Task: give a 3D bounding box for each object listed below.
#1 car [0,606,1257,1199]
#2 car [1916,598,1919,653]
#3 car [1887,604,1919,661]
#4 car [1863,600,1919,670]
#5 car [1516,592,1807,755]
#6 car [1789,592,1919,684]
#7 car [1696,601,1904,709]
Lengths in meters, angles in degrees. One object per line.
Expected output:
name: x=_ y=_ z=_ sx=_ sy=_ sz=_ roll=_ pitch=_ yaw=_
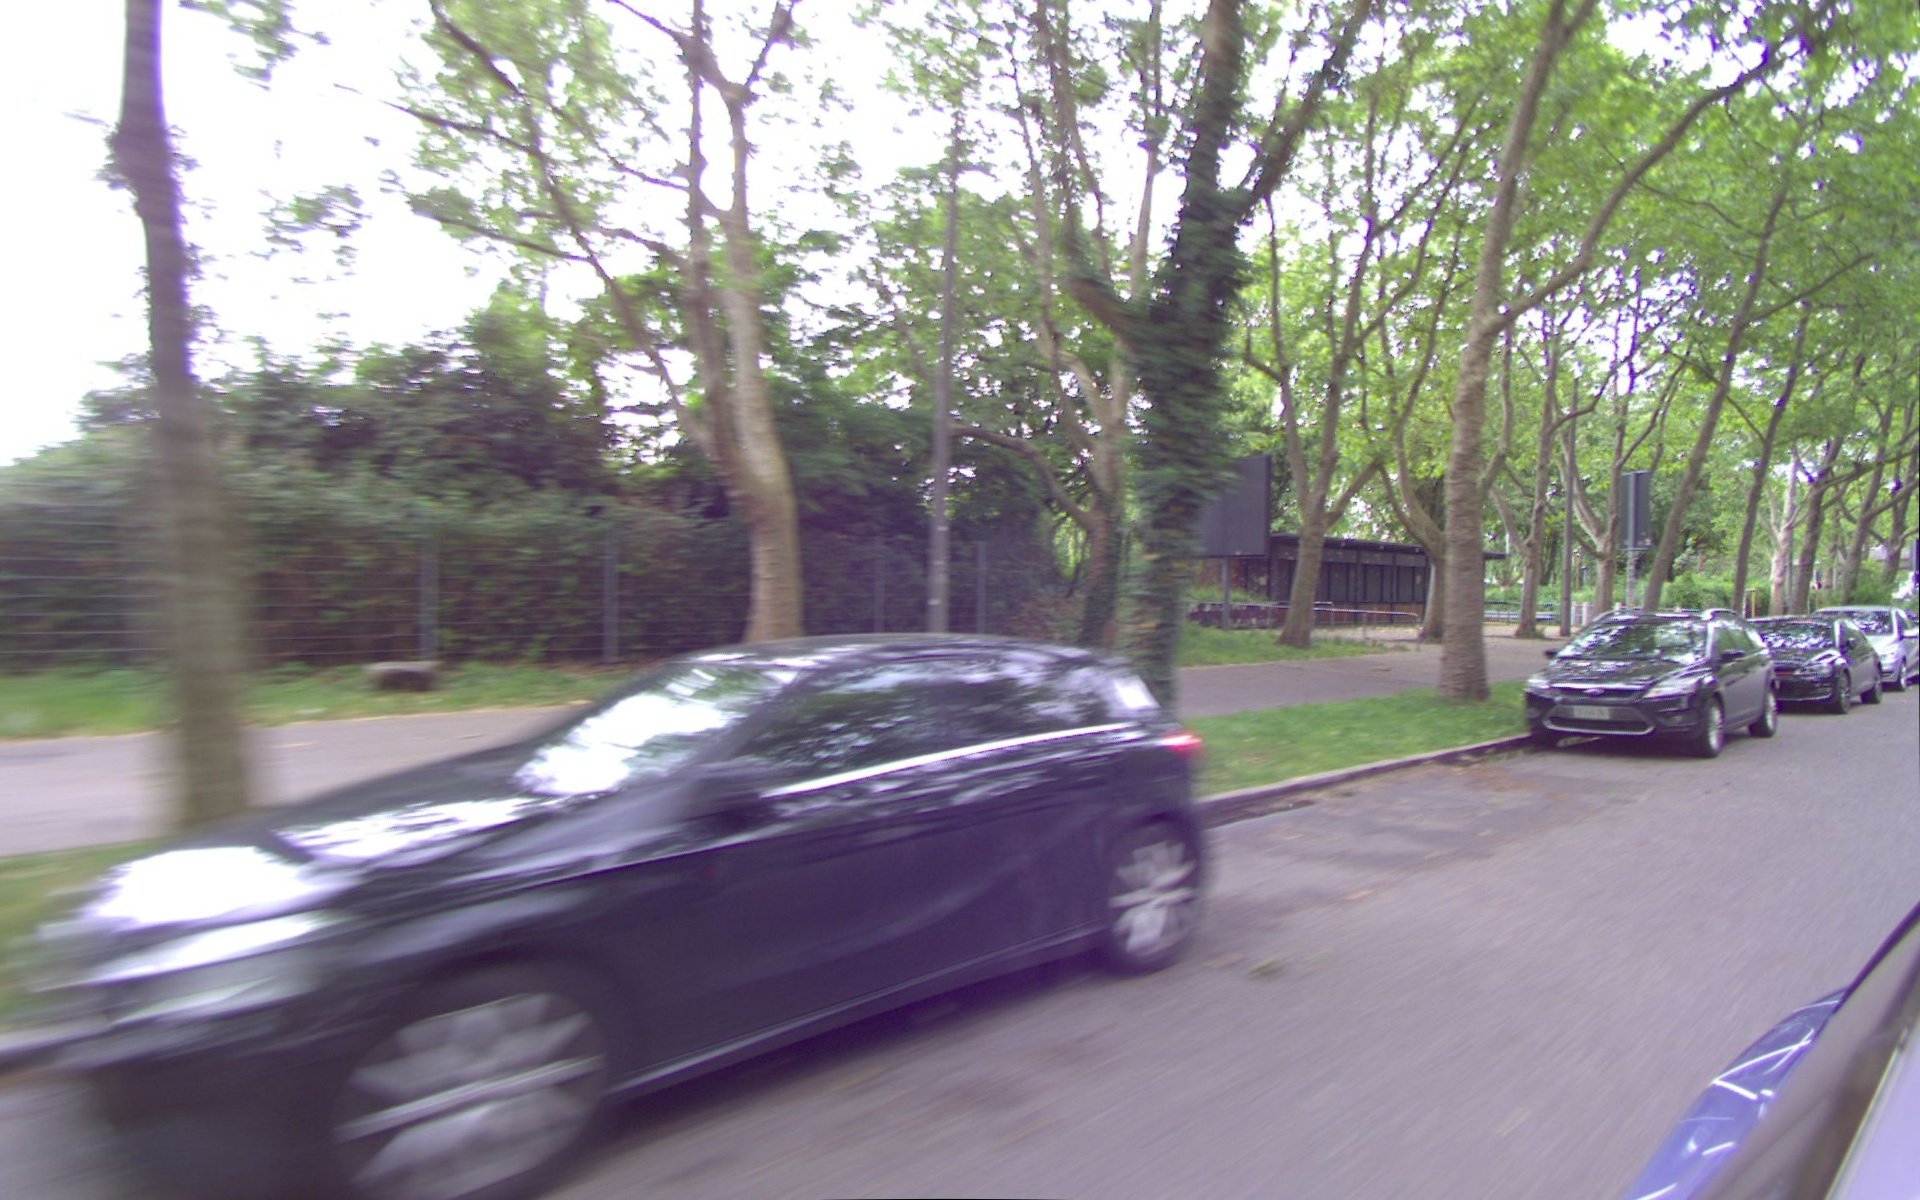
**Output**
car: x=-0.834 y=0.766 z=3.942 sx=4.211 sy=1.436 sz=1.779 roll=0 pitch=-1 yaw=-40
car: x=29.648 y=0.723 z=29.873 sx=4.010 sy=1.590 sz=1.732 roll=0 pitch=-1 yaw=-42
car: x=25.965 y=0.810 z=26.640 sx=4.006 sy=1.439 sz=1.733 roll=0 pitch=-1 yaw=-39
car: x=22.314 y=0.741 z=23.148 sx=4.893 sy=1.496 sz=1.733 roll=0 pitch=-1 yaw=-40
car: x=8.309 y=0.719 z=11.842 sx=4.320 sy=1.573 sz=1.779 roll=0 pitch=-1 yaw=-41
car: x=18.182 y=0.691 z=20.182 sx=4.149 sy=1.638 sz=1.782 roll=0 pitch=-1 yaw=-40
car: x=13.404 y=0.791 z=16.079 sx=4.076 sy=1.490 sz=1.742 roll=0 pitch=-1 yaw=-39
